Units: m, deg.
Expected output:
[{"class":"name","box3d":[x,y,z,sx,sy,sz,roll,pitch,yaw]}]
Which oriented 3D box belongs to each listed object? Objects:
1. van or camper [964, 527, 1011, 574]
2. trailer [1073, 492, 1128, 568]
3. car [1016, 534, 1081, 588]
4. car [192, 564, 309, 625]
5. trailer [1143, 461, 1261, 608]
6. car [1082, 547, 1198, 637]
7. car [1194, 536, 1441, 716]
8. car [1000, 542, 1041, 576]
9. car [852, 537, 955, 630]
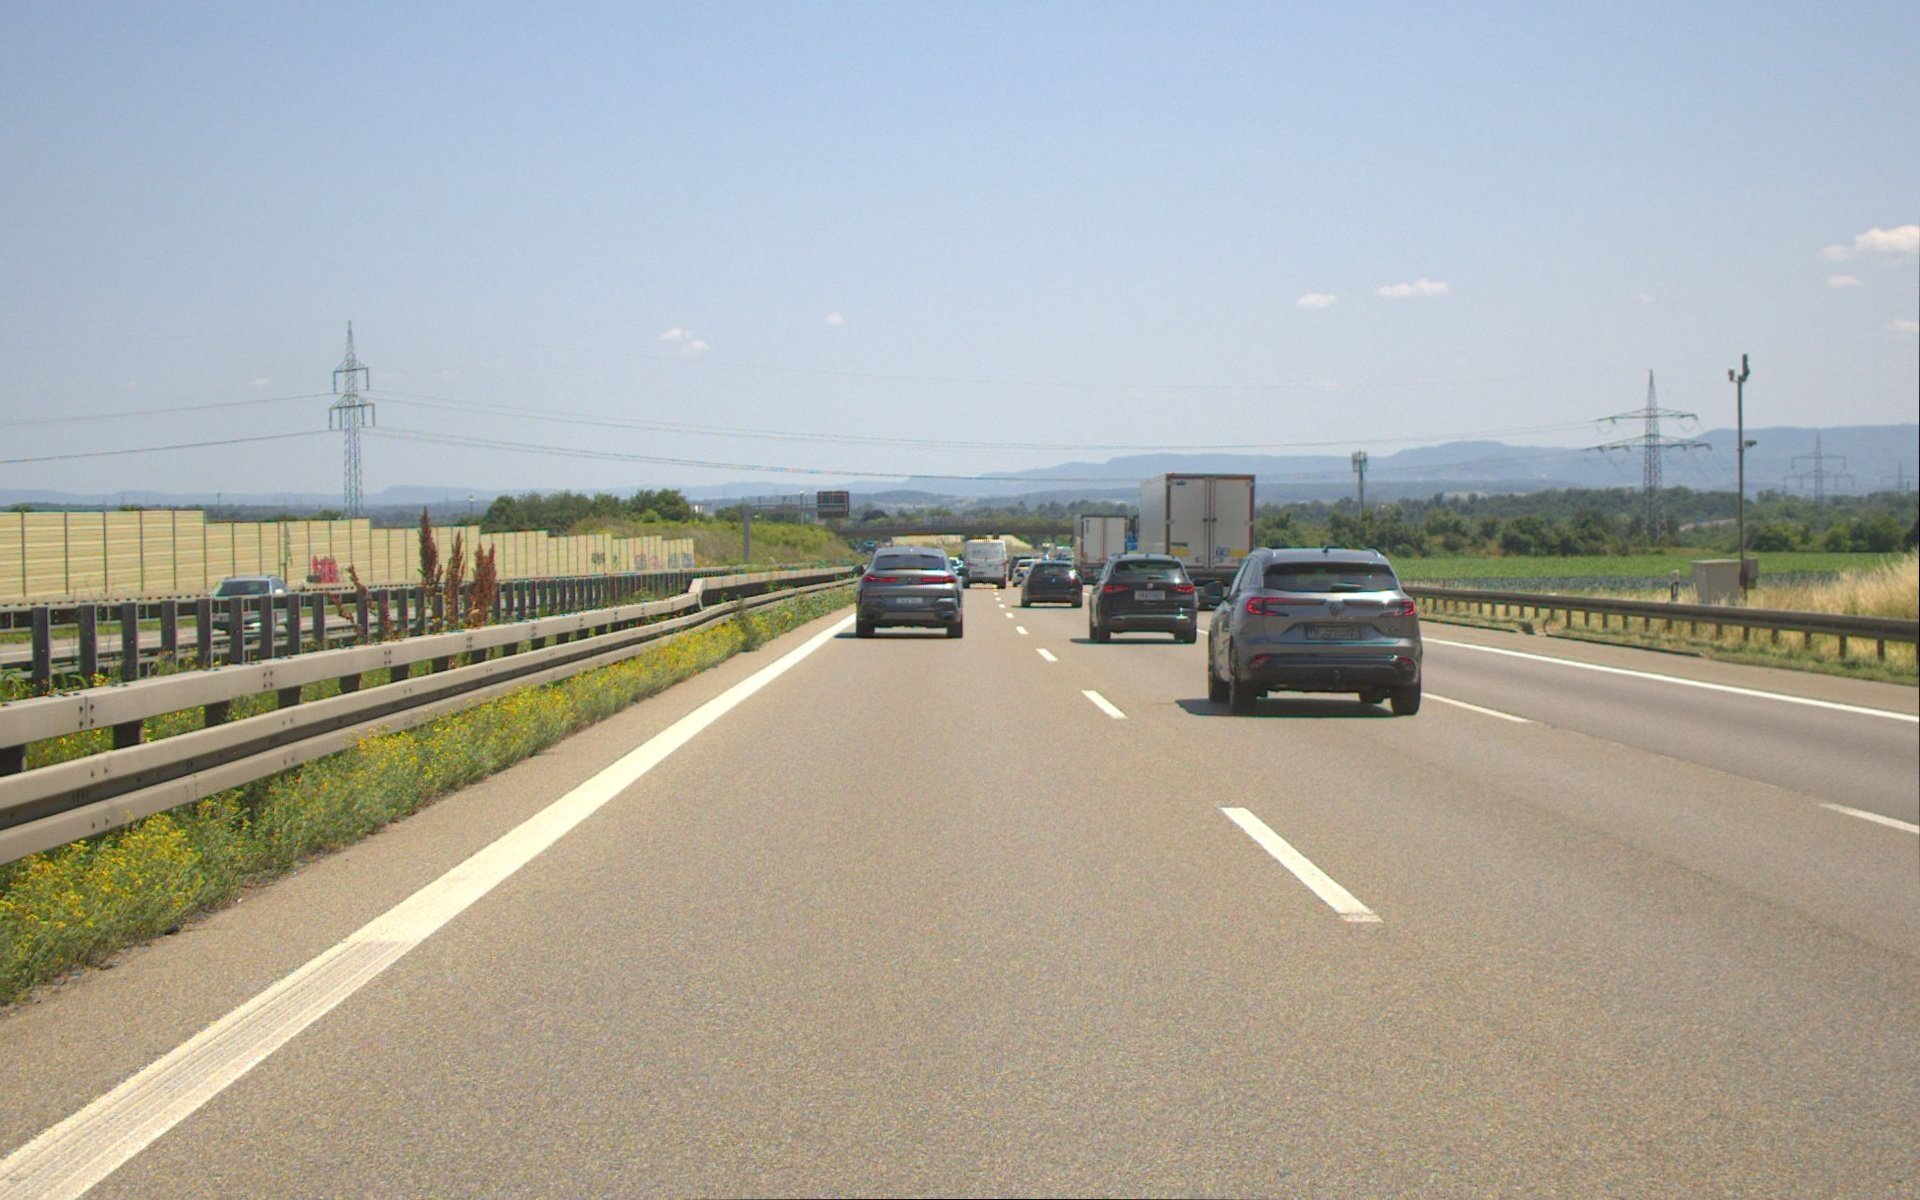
[{"class":"van or camper","box3d":[1.354,-2.354,165.133,2.111,2.204,5.265,1,1,2]},{"class":"trailer","box3d":[8.056,-3.969,198.351,2.943,4.184,13.596,1,1,2]},{"class":"car","box3d":[2.701,-1.186,105.453,1.933,1.569,4.934,1,1,1]},{"class":"car","box3d":[-18.060,-0.161,87.698,1.993,1.459,4.814,-1,1,0]},{"class":"trailer","box3d":[7.346,-1.944,106.085,2.868,4.205,13.294,1,1,1]},{"class":"car","box3d":[3.237,-0.164,62.365,1.796,1.556,3.824,1,1,-1]},{"class":"car","box3d":[3.472,0.218,34.209,1.851,1.643,4.645,1,1,-1]},{"class":"car","box3d":[3.126,-2.093,176.405,1.993,1.677,4.000,1,1,2]},{"class":"car","box3d":[-1.061,-0.318,64.301,1.851,1.658,3.735,1,1,-1]}]
